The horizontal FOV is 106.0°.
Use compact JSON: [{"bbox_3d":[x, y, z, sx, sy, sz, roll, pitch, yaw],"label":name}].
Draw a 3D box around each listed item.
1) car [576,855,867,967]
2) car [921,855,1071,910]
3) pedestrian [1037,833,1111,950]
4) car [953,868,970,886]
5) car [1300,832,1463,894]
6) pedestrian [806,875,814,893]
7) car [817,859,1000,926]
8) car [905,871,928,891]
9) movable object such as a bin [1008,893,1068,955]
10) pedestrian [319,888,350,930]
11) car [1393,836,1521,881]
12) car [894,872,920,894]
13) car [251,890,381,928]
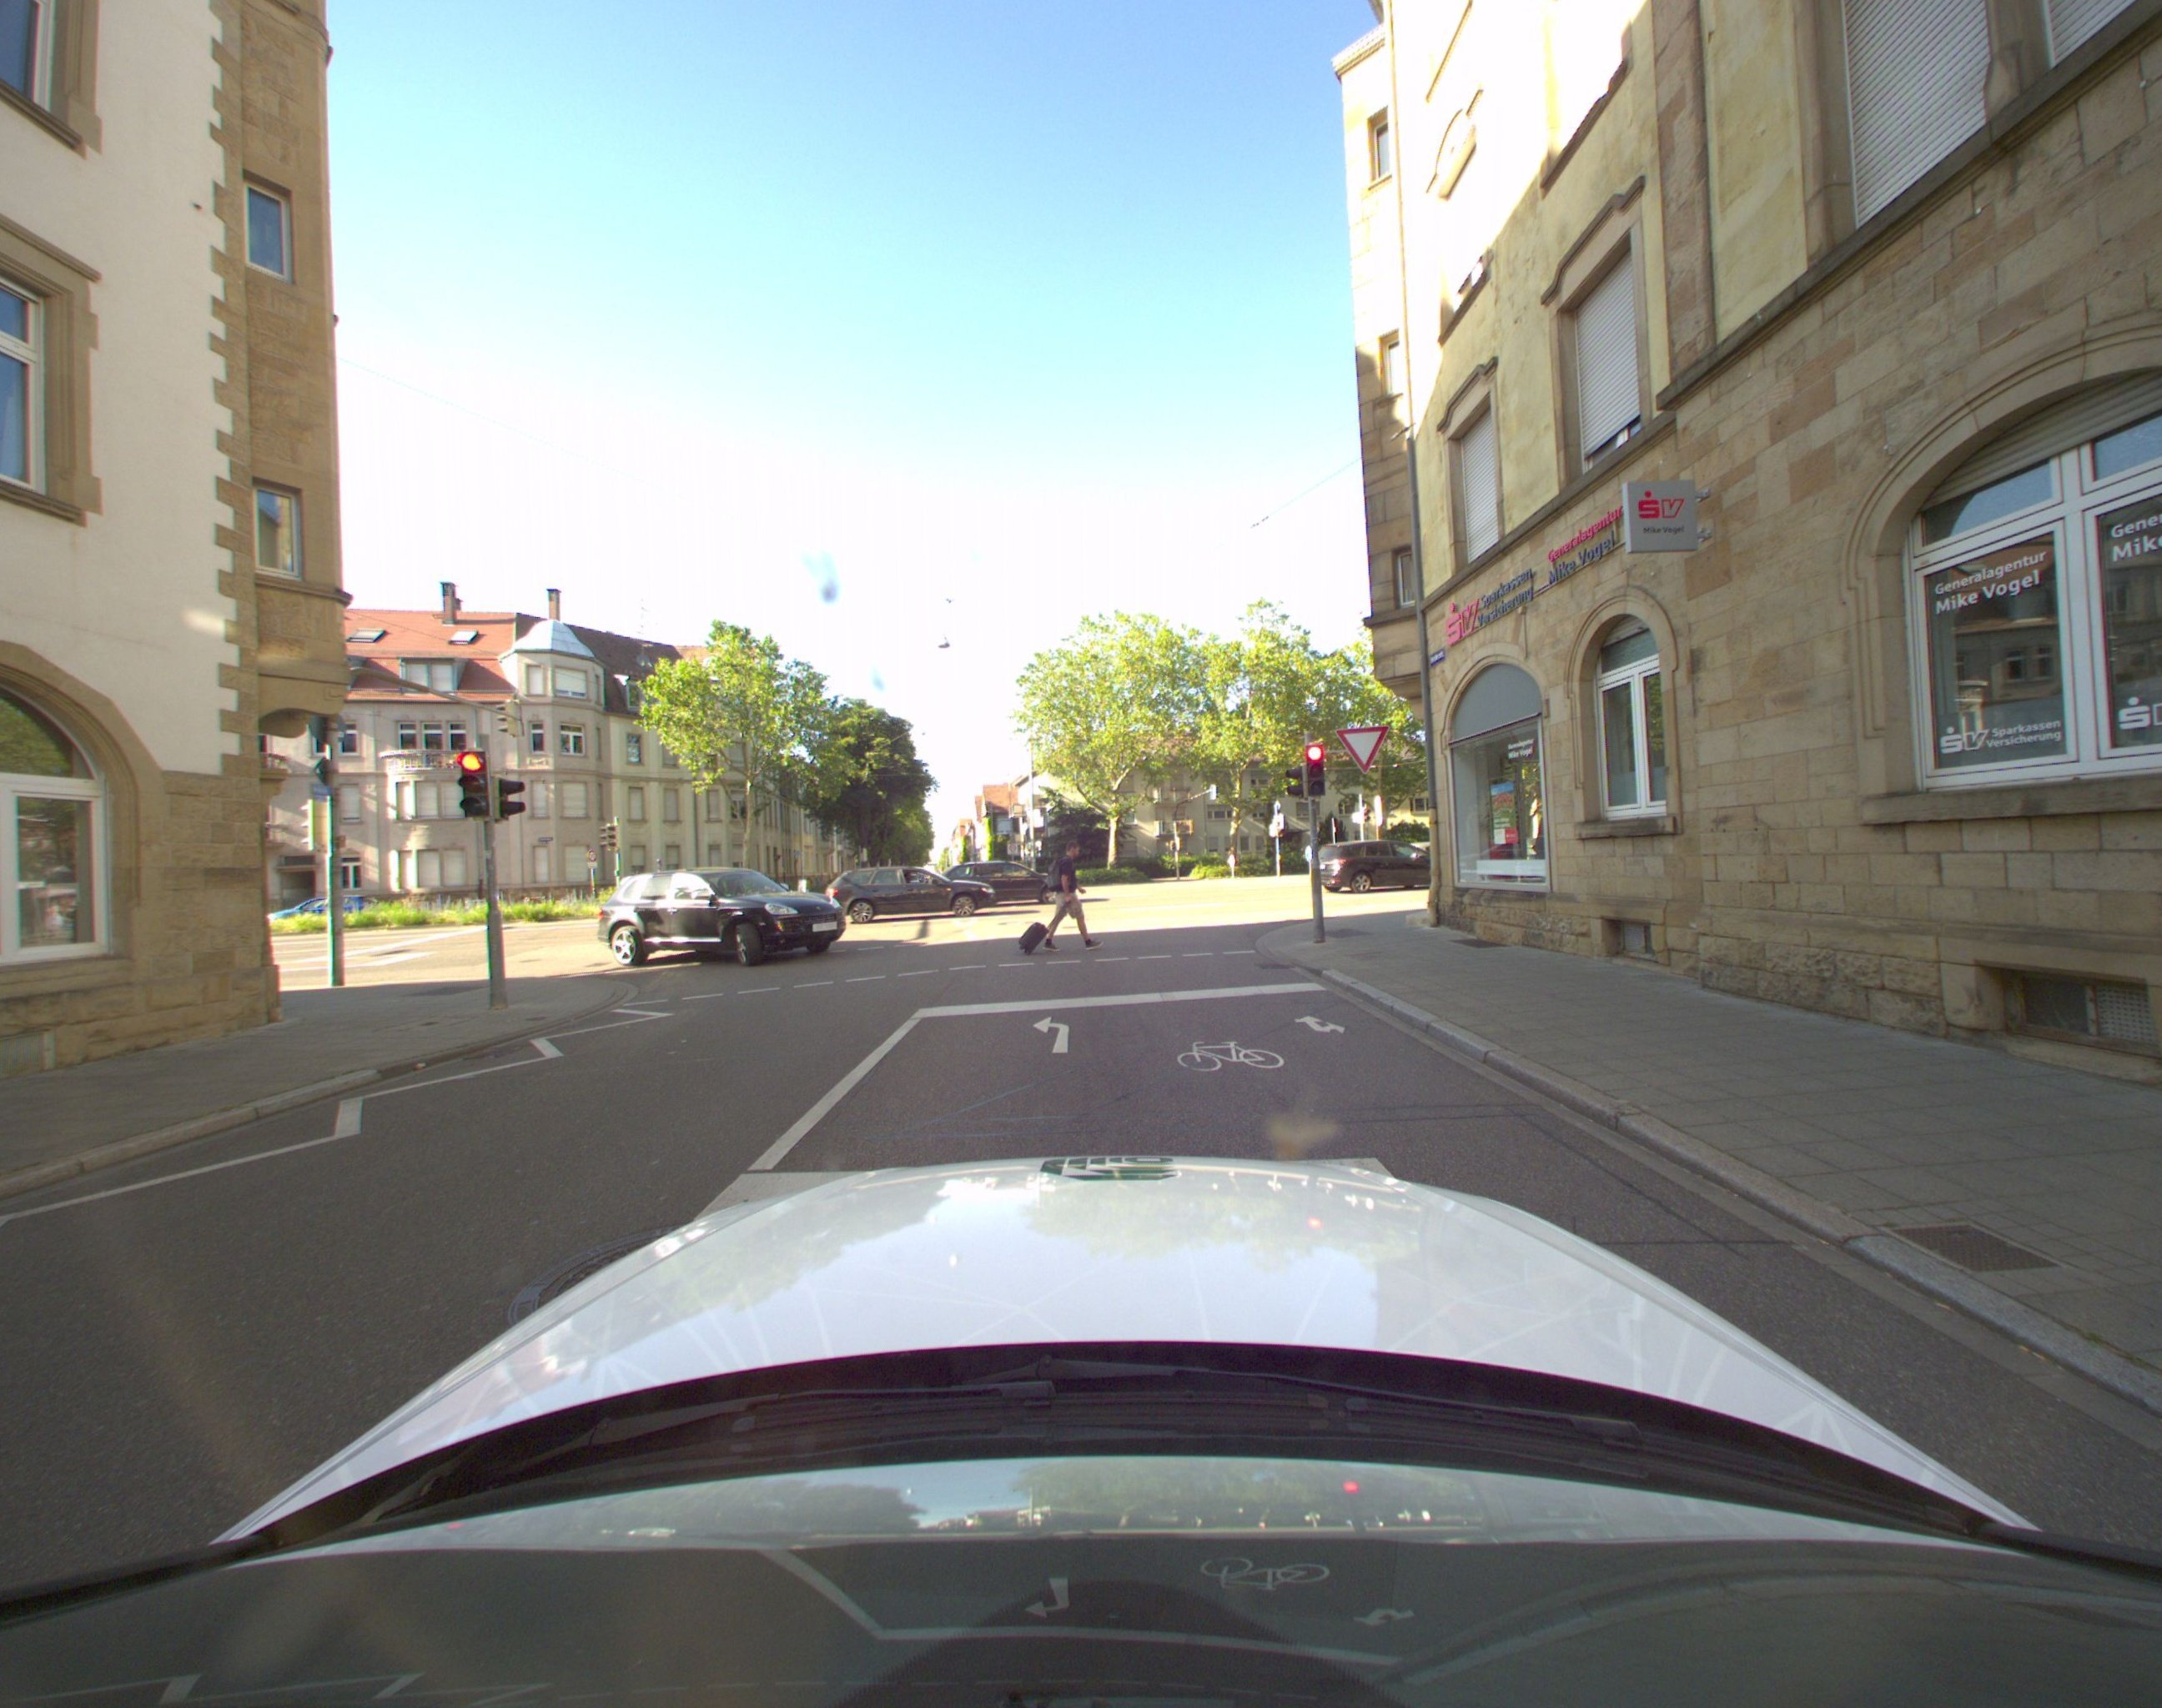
[{"bbox_3d":[-6.546,1.041,14.882,4.652,1.693,2.091,-4,0,22],"label":"car"},{"bbox_3d":[-2.784,0.885,26.419,4.620,1.456,1.974,-3,0,-11],"label":"car"},{"bbox_3d":[-0.122,0.606,13.603,1.066,1.848,0.746,-2,0,-11],"label":"pedestrian"},{"bbox_3d":[-13.955,2.701,95.014,1.773,1.918,3.522,-4,0,-10],"label":"car"},{"bbox_3d":[9.577,0.257,26.040,4.668,1.664,1.722,-3,0,-14],"label":"car"},{"bbox_3d":[-21.151,2.338,63.581,0.489,1.442,0.702,0,-1,-13],"label":"pedestrian"},{"bbox_3d":[-4.602,0.996,22.109,4.620,1.456,1.724,-3,0,-11],"label":"car"},{"bbox_3d":[-14.033,2.319,69.669,1.698,1.483,3.522,-4,0,-10],"label":"car"},{"bbox_3d":[-0.699,1.102,13.028,0.862,0.892,0.507,-3,0,-11],"label":"movable object such as a bin"},{"bbox_3d":[-36.924,2.695,40.293,0.836,2.014,0.749,0,-1,-15],"label":"pedestrian"},{"bbox_3d":[14.021,0.148,30.430,4.207,1.456,1.671,-3,0,-14],"label":"car"},{"bbox_3d":[-13.596,2.265,63.818,1.698,1.483,3.522,-4,0,-10],"label":"car"},{"bbox_3d":[-33.795,2.411,36.082,3.789,1.400,1.637,-2,0,-16],"label":"car"}]
